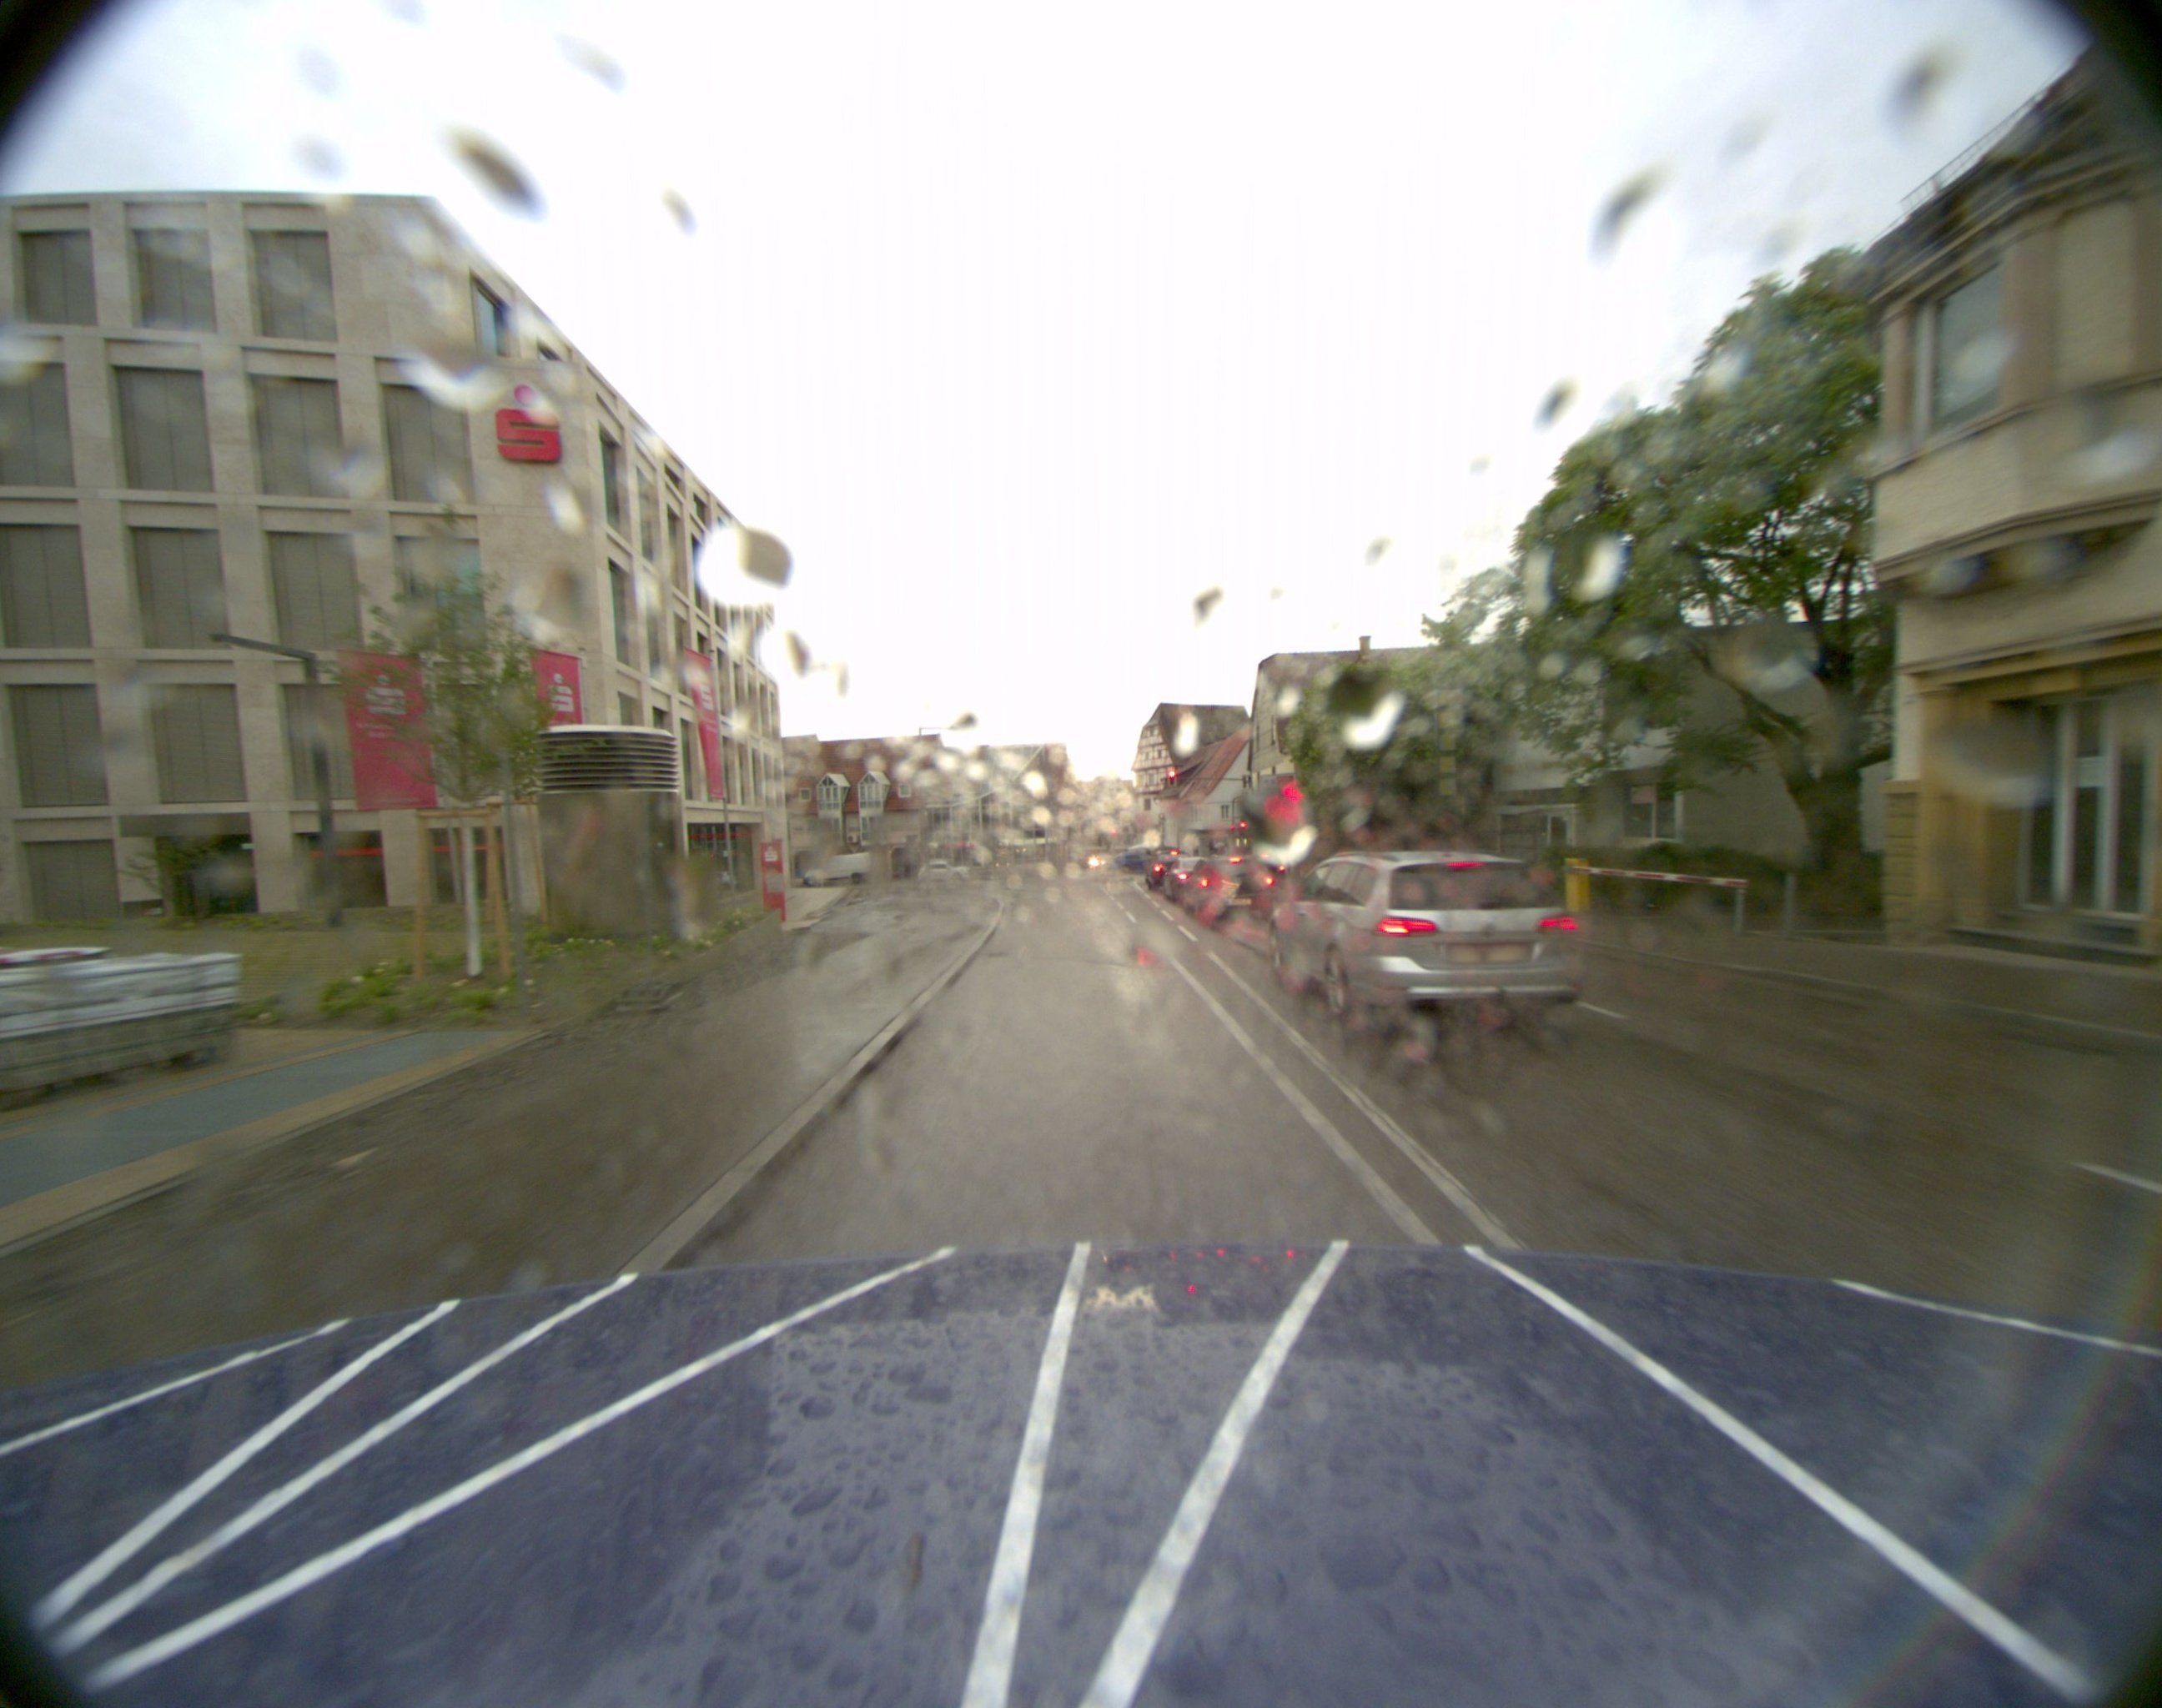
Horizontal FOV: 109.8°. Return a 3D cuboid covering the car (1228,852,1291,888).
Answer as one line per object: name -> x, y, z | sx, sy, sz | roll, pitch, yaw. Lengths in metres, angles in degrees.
car -> 7.364, 0.635, 31.735 | 1.741, 1.346, 4.060 | -2, 0, 2

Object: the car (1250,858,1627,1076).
car -> 3.024, 0.815, 7.679 | 1.803, 1.431, 4.690 | -2, 0, 3

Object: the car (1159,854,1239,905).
car -> 3.730, 0.746, 24.893 | 1.945, 1.432, 5.016 | -2, 0, 2

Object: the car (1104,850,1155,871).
car -> 3.982, 0.521, 62.396 | 3.994, 1.533, 2.001 | -2, 0, 8

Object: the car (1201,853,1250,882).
car -> 7.138, 0.634, 37.892 | 1.852, 1.286, 4.033 | -2, 0, 3

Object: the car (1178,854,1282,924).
car -> 3.550, 0.765, 18.880 | 1.803, 1.431, 4.689 | -2, 0, 2

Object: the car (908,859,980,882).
car -> -10.508, 1.264, 58.306 | 5.027, 1.536, 2.001 | -2, 0, 6

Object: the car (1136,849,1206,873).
car -> 6.684, 0.522, 56.611 | 5.027, 1.536, 2.001 | -2, 0, 5

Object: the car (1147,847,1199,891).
car -> 3.838, 0.588, 32.164 | 1.852, 1.653, 4.220 | -2, 0, 3

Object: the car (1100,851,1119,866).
car -> 3.070, 0.487, 82.951 | 1.727, 1.538, 3.999 | -2, 0, -1
